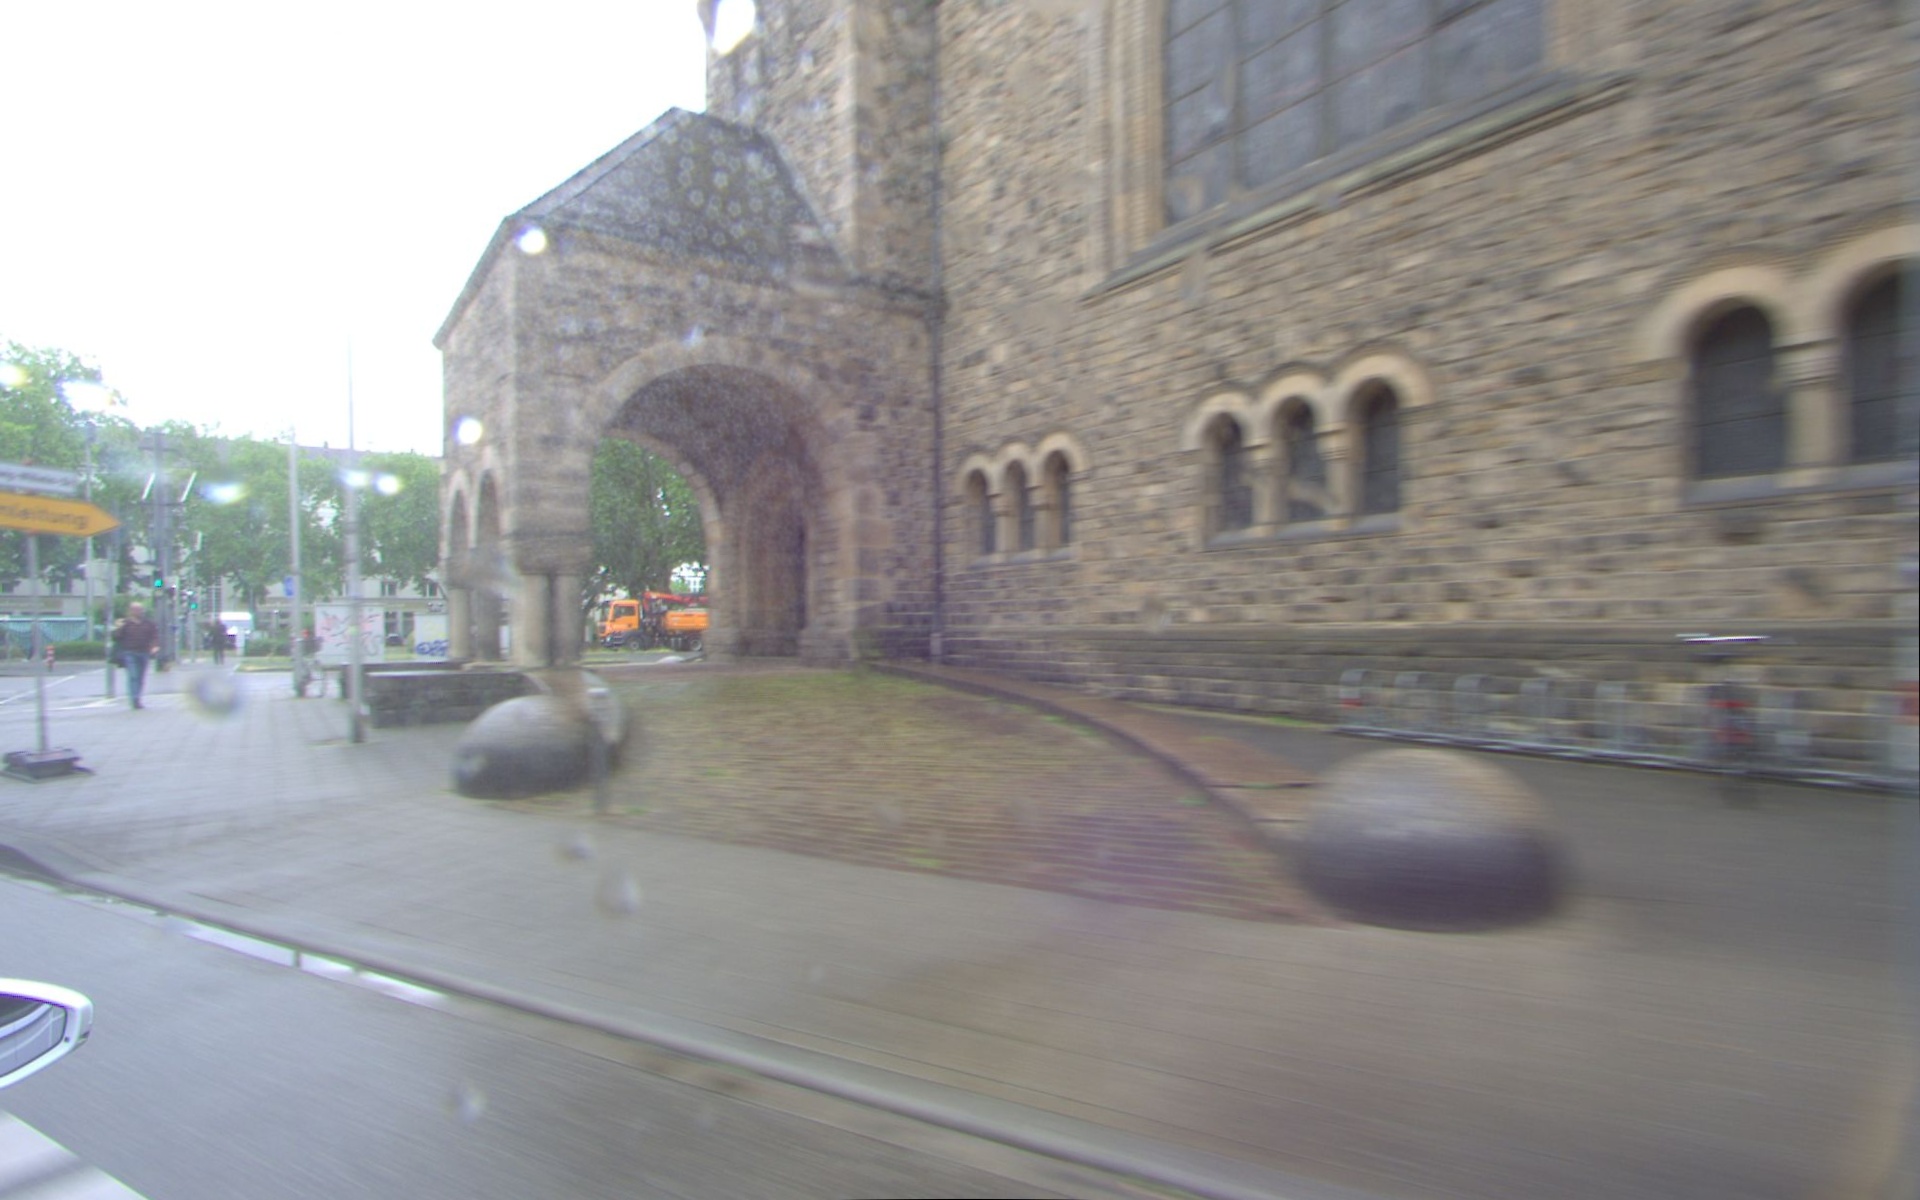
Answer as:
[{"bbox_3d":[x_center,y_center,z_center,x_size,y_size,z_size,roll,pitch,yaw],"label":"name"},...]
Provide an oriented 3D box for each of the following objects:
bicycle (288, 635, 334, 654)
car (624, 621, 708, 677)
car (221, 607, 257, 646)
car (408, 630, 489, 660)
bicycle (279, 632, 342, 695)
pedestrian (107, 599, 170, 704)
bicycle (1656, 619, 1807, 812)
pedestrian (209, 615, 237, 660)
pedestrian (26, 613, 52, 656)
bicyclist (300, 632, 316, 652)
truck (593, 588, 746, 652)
[{"bbox_3d":[-33.107,2.269,51.079,1.948,0.923,0.556,0,-1,-35],"label":"bicycle"},{"bbox_3d":[-8.517,1.377,28.852,1.389,1.498,3.200,0,-1,-35],"label":"car"},{"bbox_3d":[-49.928,1.839,69.385,1.888,2.588,4.756,0,-1,-34],"label":"car"},{"bbox_3d":[-26.424,2.295,51.808,3.528,1.405,1.617,0,-1,-37],"label":"car"},{"bbox_3d":[-12.462,1.193,19.177,2.049,1.169,0.327,-1,0,37],"label":"bicycle"},{"bbox_3d":[-14.443,0.876,17.604,0.780,1.782,0.936,-1,0,-44],"label":"pedestrian"},{"bbox_3d":[5.549,0.740,7.154,0.684,1.120,1.973,-1,1,42],"label":"bicycle"},{"bbox_3d":[-27.276,1.378,37.073,0.775,1.667,0.651,-1,0,-35],"label":"pedestrian"},{"bbox_3d":[-44.421,1.664,48.282,0.797,2.040,0.586,0,0,-32],"label":"pedestrian"},{"bbox_3d":[-33.198,2.135,51.015,0.672,1.039,0.556,0,-1,-35],"label":"bicyclist"},{"bbox_3d":[-16.923,1.149,58.722,8.330,3.570,2.361,0,-1,-35],"label":"truck"}]
